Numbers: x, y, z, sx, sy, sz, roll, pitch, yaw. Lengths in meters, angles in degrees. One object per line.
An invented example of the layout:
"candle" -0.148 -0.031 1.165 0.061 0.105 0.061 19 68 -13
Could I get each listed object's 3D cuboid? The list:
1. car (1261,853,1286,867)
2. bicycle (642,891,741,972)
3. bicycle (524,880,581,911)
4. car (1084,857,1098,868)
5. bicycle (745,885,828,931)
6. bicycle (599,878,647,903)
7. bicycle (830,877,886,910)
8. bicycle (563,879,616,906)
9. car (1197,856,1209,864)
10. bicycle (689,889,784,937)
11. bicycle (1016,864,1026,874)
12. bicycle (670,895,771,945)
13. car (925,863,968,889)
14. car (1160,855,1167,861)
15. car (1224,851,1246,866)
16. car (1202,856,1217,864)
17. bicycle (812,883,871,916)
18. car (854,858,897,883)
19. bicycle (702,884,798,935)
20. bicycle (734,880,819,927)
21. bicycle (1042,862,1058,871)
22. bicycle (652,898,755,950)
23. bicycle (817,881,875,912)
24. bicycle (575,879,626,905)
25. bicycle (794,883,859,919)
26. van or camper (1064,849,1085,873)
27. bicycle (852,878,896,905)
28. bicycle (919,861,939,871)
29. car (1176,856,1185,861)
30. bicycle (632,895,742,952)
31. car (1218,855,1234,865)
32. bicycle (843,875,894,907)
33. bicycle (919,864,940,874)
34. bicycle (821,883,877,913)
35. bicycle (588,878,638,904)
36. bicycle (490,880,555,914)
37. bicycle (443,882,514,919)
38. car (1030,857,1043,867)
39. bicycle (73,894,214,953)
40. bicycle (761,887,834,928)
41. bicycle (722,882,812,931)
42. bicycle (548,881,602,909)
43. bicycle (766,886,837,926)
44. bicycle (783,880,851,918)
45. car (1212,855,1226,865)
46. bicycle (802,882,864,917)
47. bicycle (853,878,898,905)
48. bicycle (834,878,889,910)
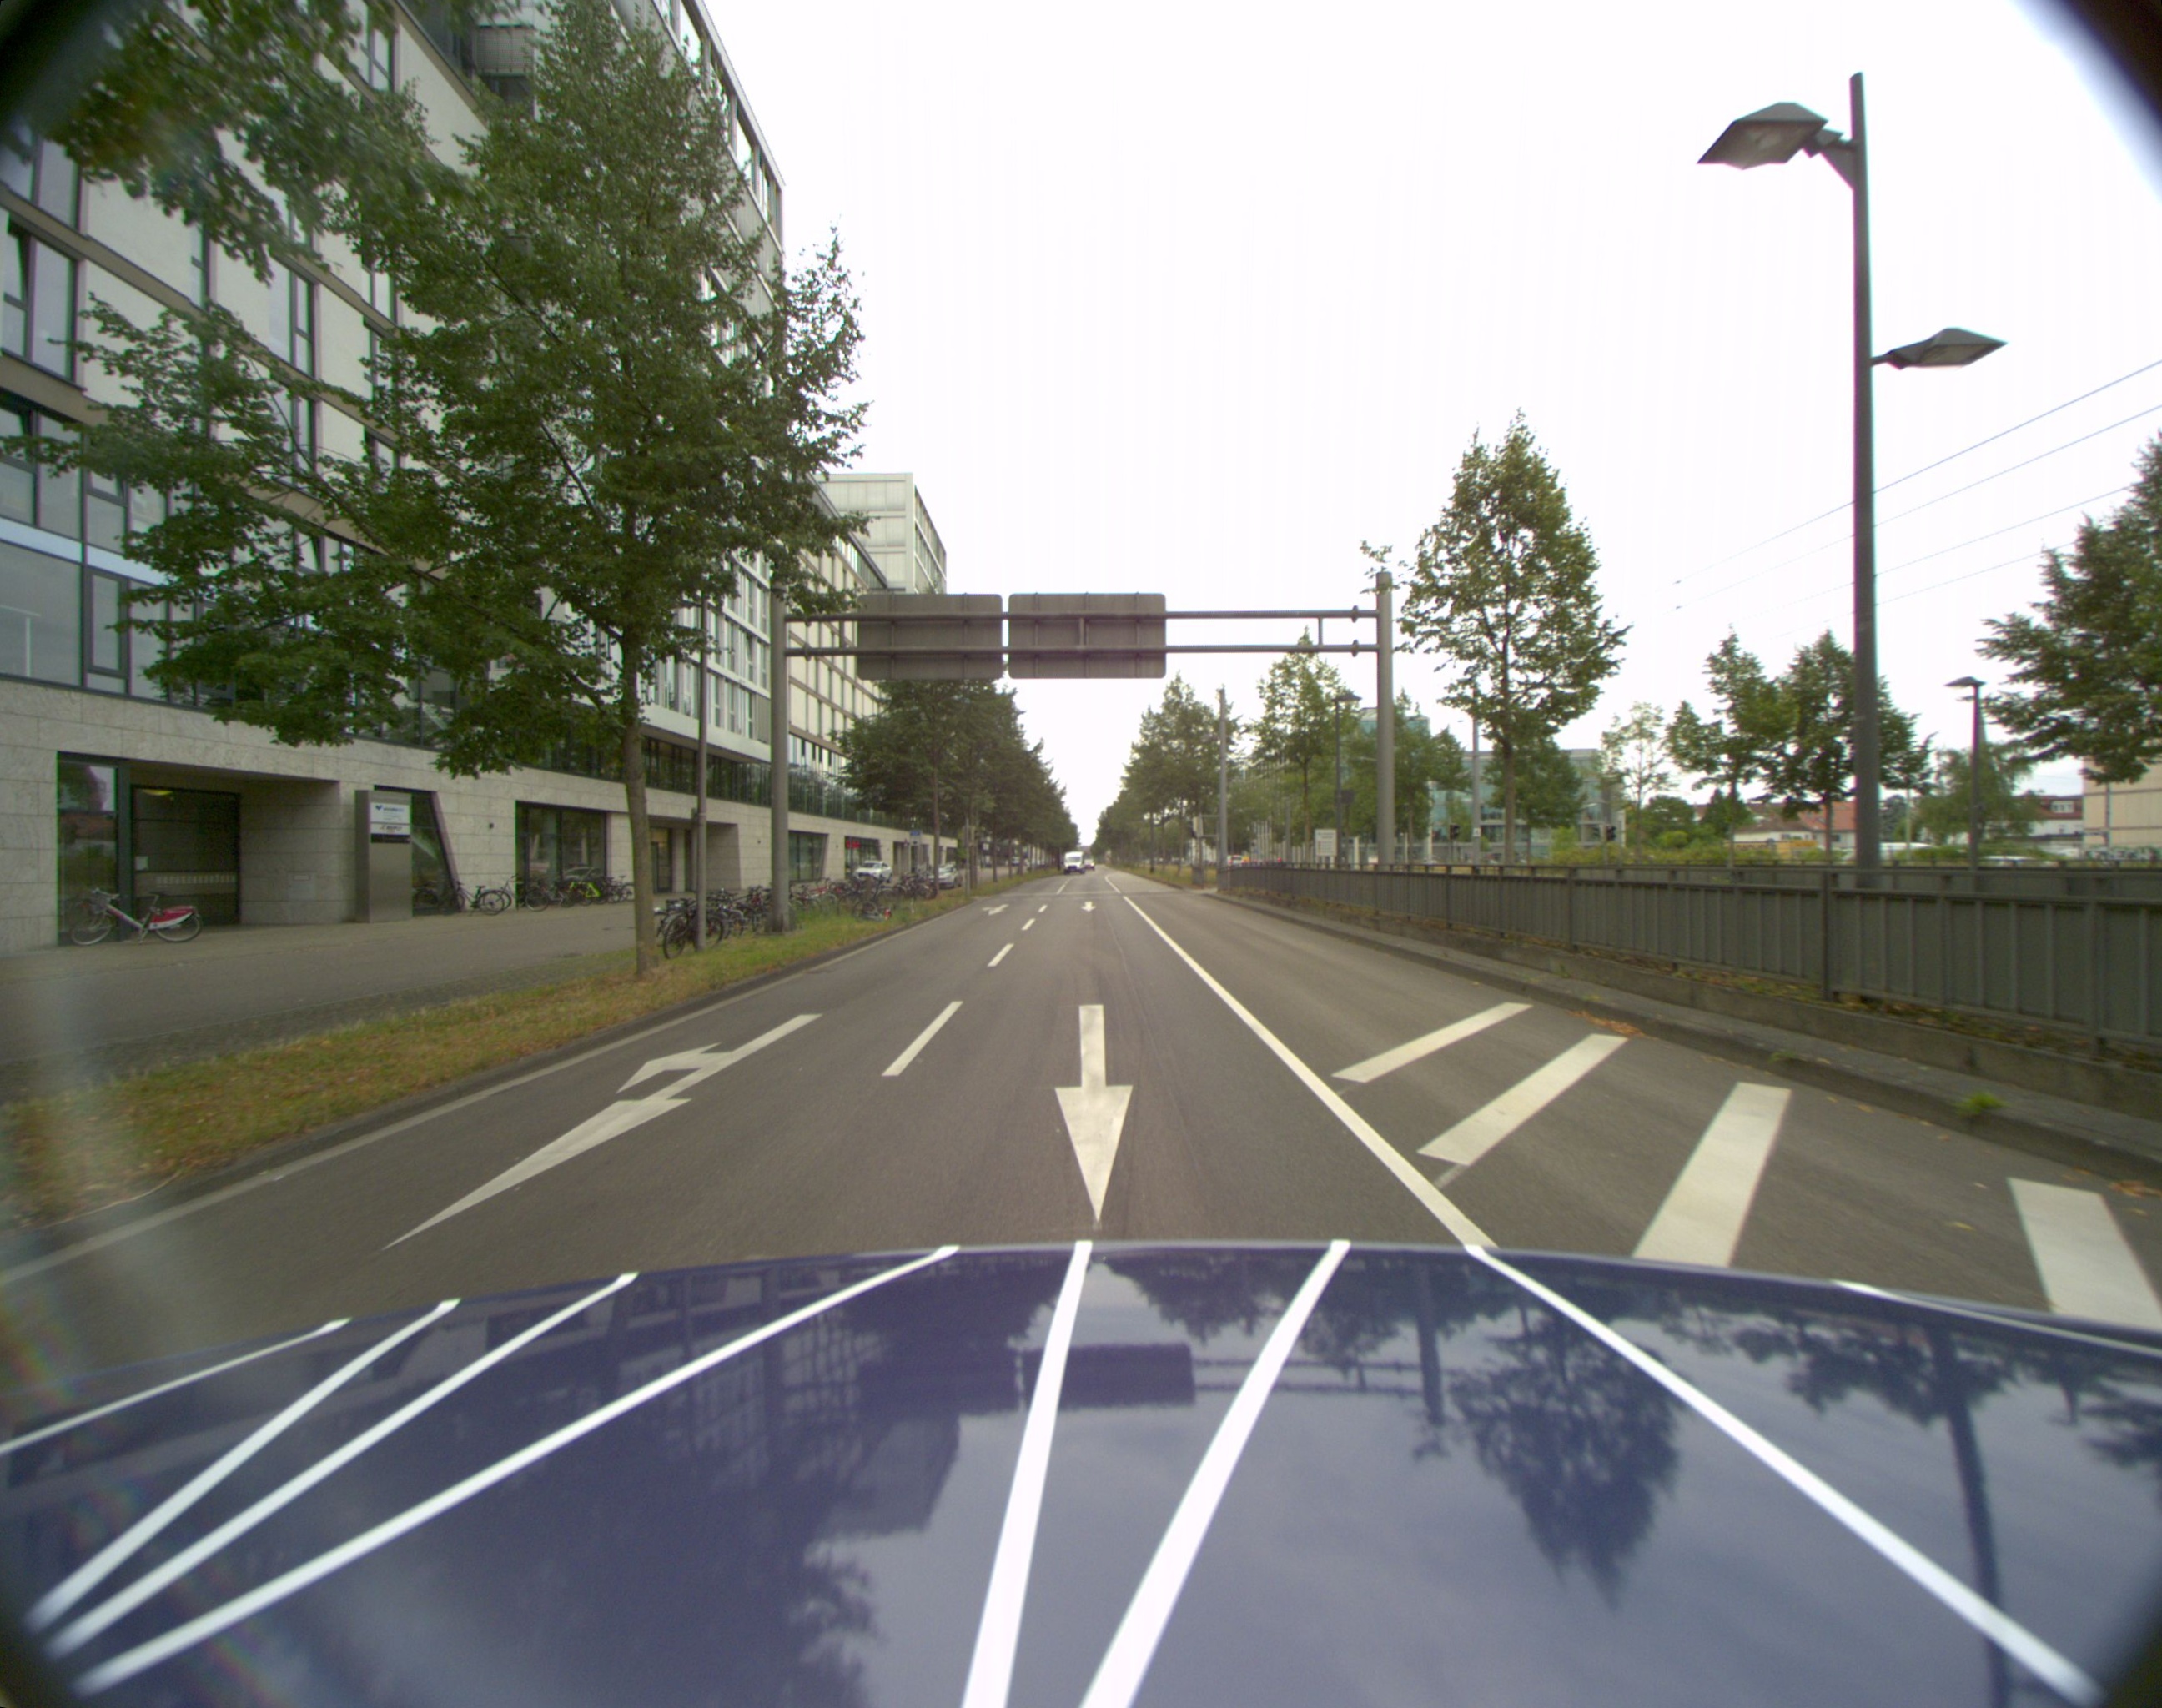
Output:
"car" 23.545 0.690 93.051 1.832 1.646 4.691 0 0 -2
"bicycle" -6.467 1.238 12.767 0.712 1.109 2.202 -4 0 -7
"bicycle" -17.839 1.387 25.663 1.533 1.020 0.533 0 0 -3
"car" 1.532 1.285 110.513 1.973 1.528 4.139 -1 0 1
"bicycle" -7.906 1.433 20.447 1.936 1.059 0.543 -4 0 -8
"bicycle" -17.887 1.407 29.670 1.533 0.948 0.533 0 0 -3
"bicycle" -7.813 1.381 26.685 1.778 1.006 0.610 -4 0 -8
"bicycle" -17.827 1.405 27.564 1.533 0.948 0.533 0 0 -3
"car" 23.993 1.134 149.629 1.752 1.448 3.865 -1 0 2
"bicycle" -7.988 1.367 17.684 1.865 0.946 0.612 -4 0 -2
"bicycle" -5.984 1.489 75.873 0.634 0.871 2.116 -3 0 2
"bicycle" -8.022 1.455 16.944 1.865 0.946 0.652 -4 0 -2
"car" -8.015 1.300 45.626 1.765 1.413 4.183 -1 0 1
"car" 23.066 1.091 213.129 1.752 1.448 3.865 -1 0 2
"car" 21.391 0.636 105.584 1.998 1.933 5.096 -1 0 0
"car" 23.011 1.039 135.853 1.999 1.410 4.000 -1 0 0
"bicycle" -7.771 1.470 24.709 1.720 0.900 0.588 -4 0 -8
"car" -14.458 1.137 53.690 1.862 1.579 4.240 2 0 1
"bicycle" -7.971 1.335 18.376 1.935 1.059 0.705 -4 0 -2
"bicycle" -7.933 1.279 19.866 1.936 1.059 0.543 -4 0 -8
"bicycle" -3.839 1.597 94.283 1.790 1.013 0.422 -3 1 -14
"bicycle" -8.036 1.480 16.195 1.865 0.946 0.501 -4 0 -2
"bicycle" -7.835 1.405 25.343 1.720 0.900 0.588 -4 0 -8
"bicycle" -17.811 1.401 28.170 1.533 0.948 0.533 0 0 -3
"bicycle" -7.814 1.432 23.399 1.749 0.968 0.609 -4 0 -8
"van or camper" -0.677 0.750 85.967 2.184 2.493 6.339 -2 0 0
"bicycle" -8.073 1.470 29.717 1.533 0.947 0.552 -3 0 -3
"bicycle" -17.871 1.427 89.494 2.238 1.170 0.975 -1 0 -7
"car" 25.070 1.121 191.409 1.752 1.448 3.865 -1 0 2
"bicycle" -8.020 1.412 15.528 1.865 0.989 0.574 -4 0 -2
"car" 21.962 0.935 115.081 1.753 1.488 3.865 -1 0 0
"bicycle" -7.886 1.364 28.208 1.672 1.084 0.525 -3 0 -3
"bicycle" -18.062 1.814 90.725 2.426 1.170 1.202 -1 0 -7
"bicycle" -7.905 1.499 25.958 1.720 0.900 0.588 -4 0 -8
"bicycle" -17.862 1.413 29.015 1.533 0.948 0.533 0 0 -3
"bicycle" -17.547 1.354 23.895 1.602 1.020 0.533 0 0 -3
"bicycle" -17.535 1.346 22.134 1.602 1.020 0.533 0 0 -3
"car" -7.179 1.289 122.504 1.954 1.521 4.000 0 0 0
"bicycle" -18.061 1.318 14.689 1.605 1.020 0.609 0 0 -27
"bicycle" -7.841 1.471 21.092 1.749 0.968 0.609 -4 0 -8
"bicycle" -7.891 1.305 19.135 1.935 1.059 0.641 -4 0 -2
"bicycle" -17.803 1.453 26.741 1.533 0.948 0.533 0 0 -3
"bicycle" -7.962 1.474 21.714 1.749 0.968 0.609 -4 0 -8
"bicycle" -7.829 1.321 22.559 1.749 0.968 0.609 -4 0 -8
"car" 22.789 0.979 125.356 1.752 1.448 3.866 -1 0 3
"bicycle" -7.844 1.428 24.049 1.720 0.968 0.609 -4 0 -8
"bicycle" -7.820 1.426 28.944 1.533 0.947 0.484 -3 0 -3
"bicycle" -7.897 1.433 27.378 1.778 1.006 0.610 -3 0 -8
